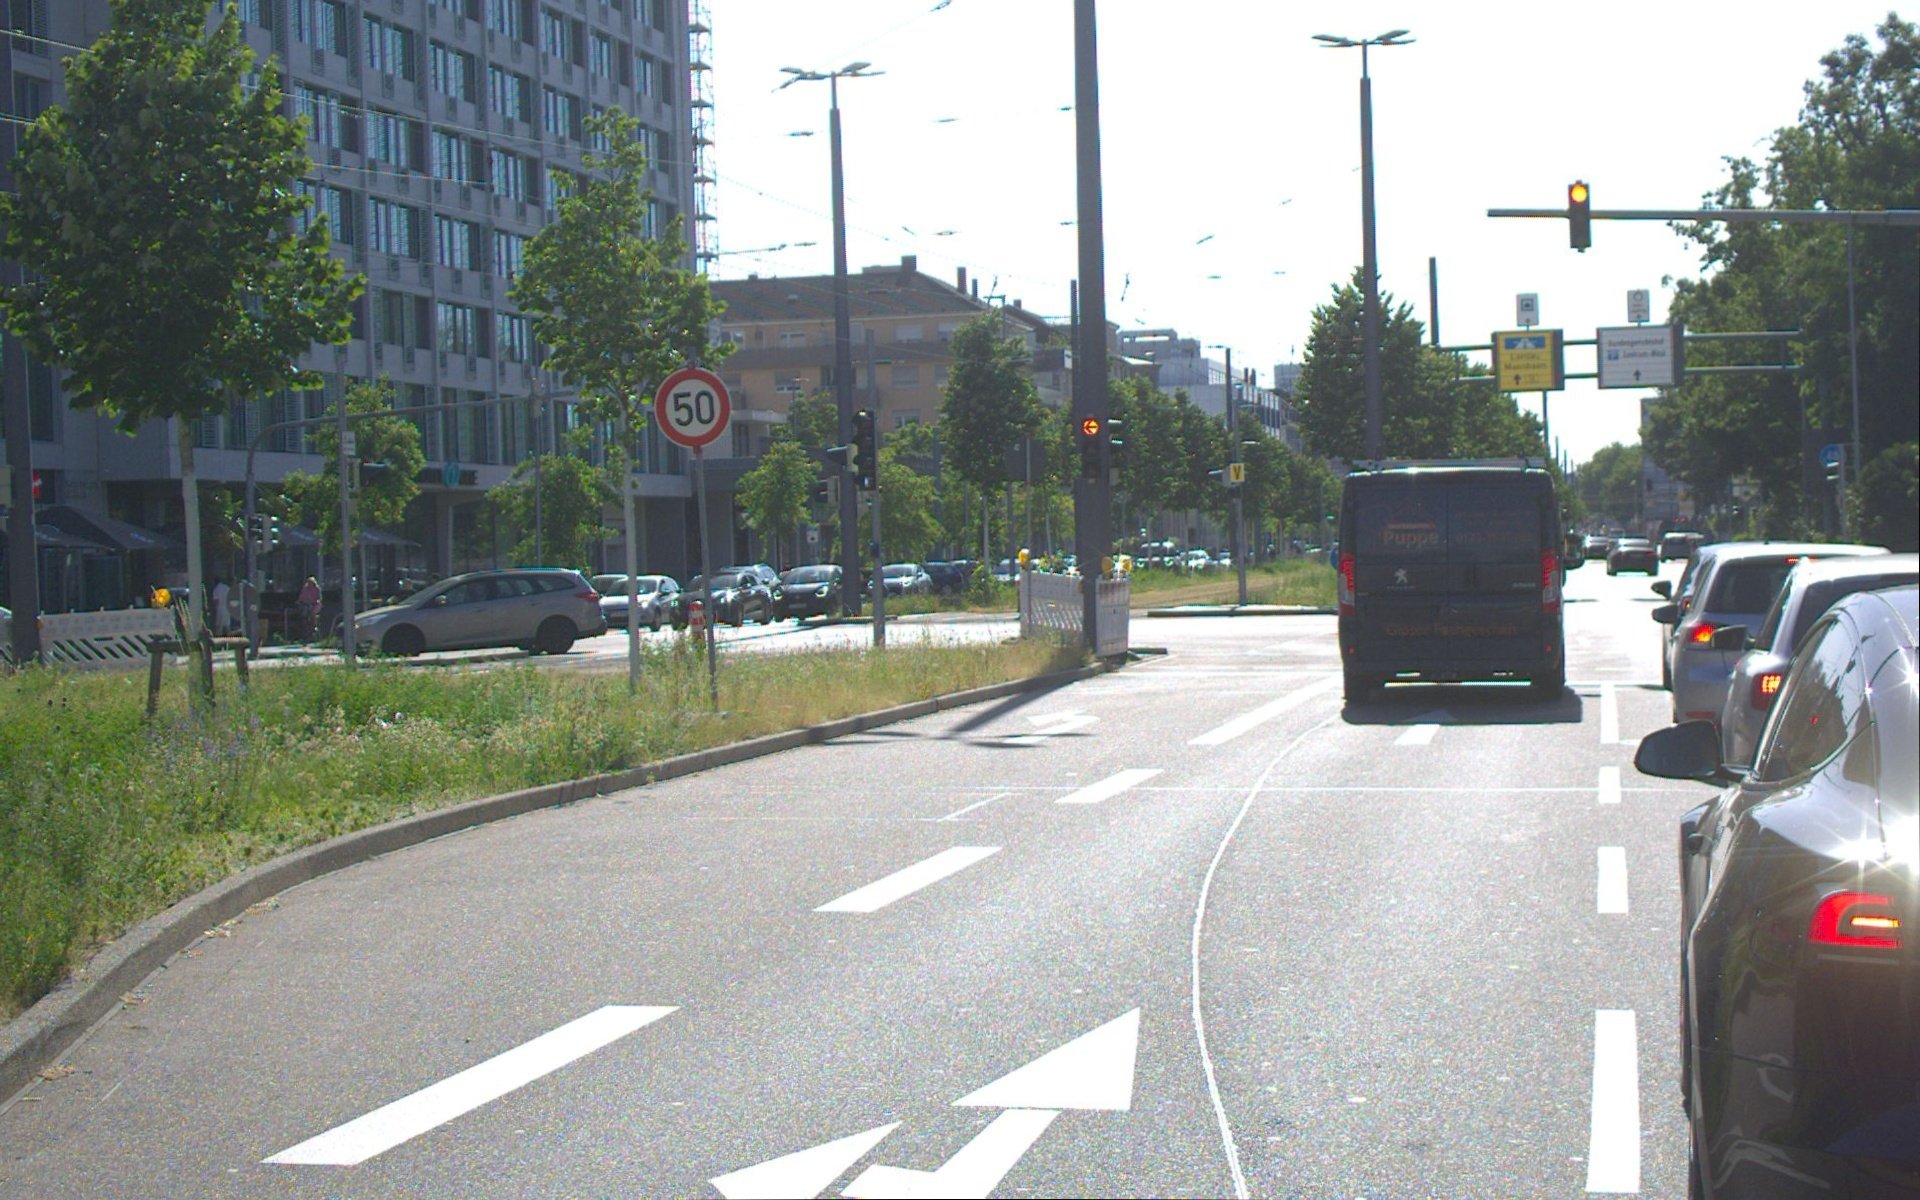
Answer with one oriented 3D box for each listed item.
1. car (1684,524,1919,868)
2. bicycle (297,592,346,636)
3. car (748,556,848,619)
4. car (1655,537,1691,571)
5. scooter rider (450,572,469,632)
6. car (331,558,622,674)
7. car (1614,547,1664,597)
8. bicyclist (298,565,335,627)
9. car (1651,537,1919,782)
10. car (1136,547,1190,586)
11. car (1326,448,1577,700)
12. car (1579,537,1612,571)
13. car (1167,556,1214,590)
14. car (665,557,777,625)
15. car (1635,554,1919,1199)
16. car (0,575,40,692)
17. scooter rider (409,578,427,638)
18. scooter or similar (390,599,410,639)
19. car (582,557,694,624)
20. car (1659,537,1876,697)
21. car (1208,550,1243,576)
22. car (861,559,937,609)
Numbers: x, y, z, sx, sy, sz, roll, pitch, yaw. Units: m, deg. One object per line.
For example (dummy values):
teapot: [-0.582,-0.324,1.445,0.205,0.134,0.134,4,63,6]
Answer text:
car: [4.470,0.355,16.786,1.748,1.422,4.836,-1,1,11]
bicycle: [-16.251,0.358,87.544,0.587,1.096,1.621,0,1,15]
car: [-4.517,-0.353,96.427,1.791,1.645,3.998,-2,1,12]
car: [39.064,-2.531,188.440,1.792,1.867,3.848,0,1,10]
scooter rider: [-12.273,0.046,84.271,0.342,1.448,0.239,-2,1,12]
car: [-8.255,0.245,58.715,4.511,1.786,2.000,-2,1,-22]
car: [26.236,-1.092,132.952,1.792,1.867,3.848,0,1,10]
bicyclist: [-16.374,-0.106,87.545,0.594,1.575,0.892,0,1,15]
car: [5.693,0.343,23.731,1.750,1.522,4.003,0,1,12]
car: [9.176,-1.525,155.126,1.809,1.645,3.998,-2,1,12]
car: [4.834,-0.295,33.303,2.219,2.259,4.482,0,2,10]
car: [35.821,-2.598,193.959,1.792,1.867,3.848,0,1,10]
car: [11.924,-1.426,177.544,1.791,1.645,3.998,-2,1,12]
car: [-6.134,-0.249,88.604,1.791,1.645,3.998,-2,1,12]
car: [2.448,0.648,7.126,2.052,1.439,4.522,0,1,11]
car: [-16.388,0.594,52.446,1.996,1.786,4.521,-1,1,26]
scooter rider: [-13.334,0.195,84.600,0.342,1.448,0.239,-2,1,12]
scooter or similar: [-13.768,0.465,84.517,0.285,0.944,0.767,-2,1,4]
car: [-8.540,-0.273,91.536,1.791,1.645,3.998,-2,1,12]
car: [7.626,0.125,32.748,1.792,1.423,3.848,0,1,10]
car: [17.713,-2.449,229.353,1.791,1.645,3.998,-2,1,12]
car: [-2.150,-0.584,122.187,1.791,1.645,3.998,-2,1,12]
